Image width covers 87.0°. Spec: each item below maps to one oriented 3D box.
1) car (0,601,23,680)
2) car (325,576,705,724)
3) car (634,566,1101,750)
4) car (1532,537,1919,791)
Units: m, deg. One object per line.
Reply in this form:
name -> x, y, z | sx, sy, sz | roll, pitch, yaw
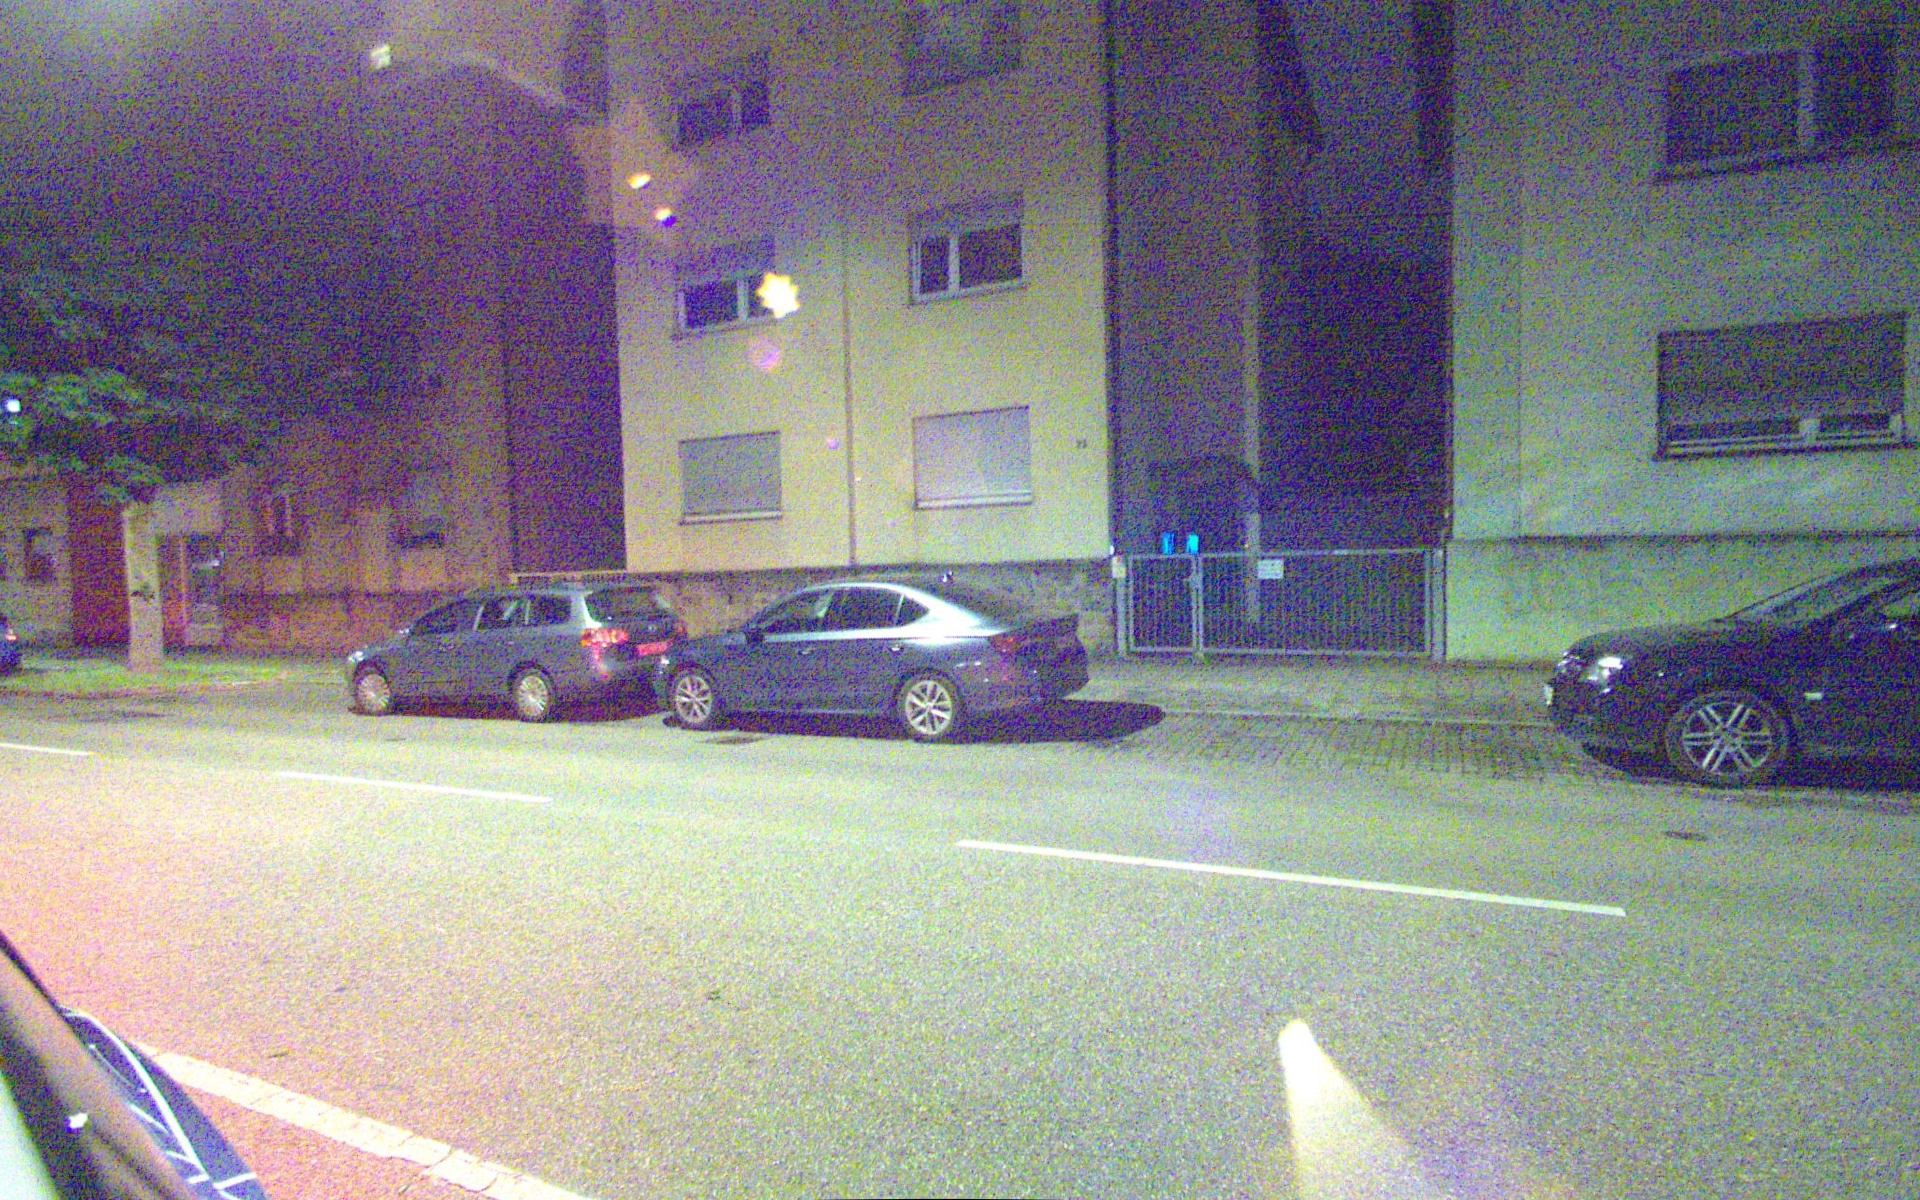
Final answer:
car -> -19.946, 0.807, 19.514 | 3.496, 1.475, 1.619 | -1, 1, 26
car -> -5.315, 0.539, 12.040 | 4.324, 1.444, 1.631 | -1, 3, 25
car -> -0.949, 0.491, 9.873 | 4.323, 1.444, 1.544 | -1, 3, 26
car -> 6.326, 0.329, 6.541 | 4.377, 1.444, 1.852 | -1, 3, 24
